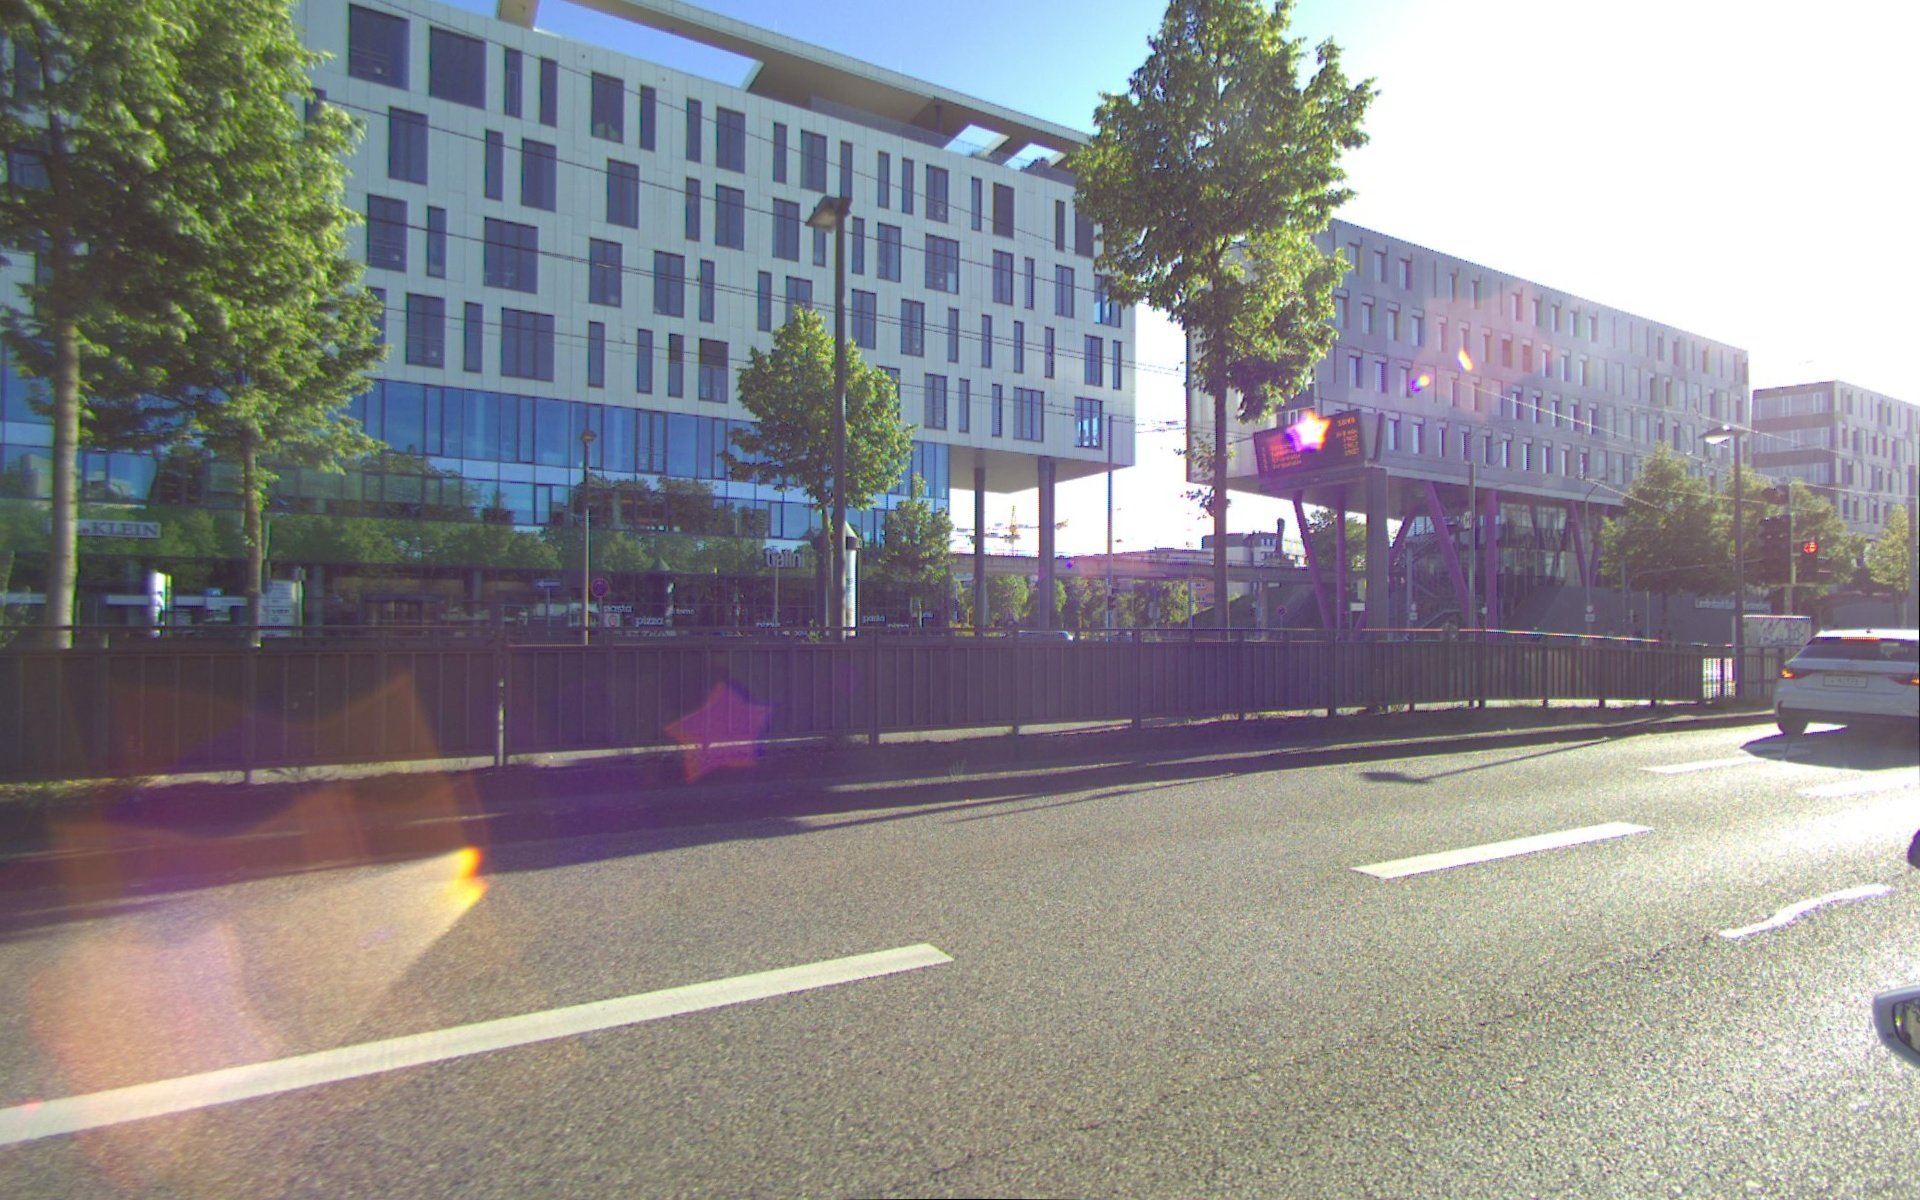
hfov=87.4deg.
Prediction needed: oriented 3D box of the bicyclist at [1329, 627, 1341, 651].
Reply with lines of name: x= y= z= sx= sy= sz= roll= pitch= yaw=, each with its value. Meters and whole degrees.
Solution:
bicyclist: x=22.448 y=2.330 z=60.136 sx=0.546 sy=1.442 sz=0.479 roll=1 pitch=-1 yaw=-30

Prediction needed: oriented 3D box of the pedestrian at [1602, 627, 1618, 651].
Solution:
pedestrian: x=50.648 y=3.024 z=78.297 sx=0.861 sy=1.846 sz=0.718 roll=1 pitch=-1 yaw=-30

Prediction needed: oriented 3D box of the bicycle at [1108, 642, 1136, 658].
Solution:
bicycle: x=9.625 y=2.961 z=59.624 sx=0.739 sy=0.874 sz=1.818 roll=1 pitch=-1 yaw=-27

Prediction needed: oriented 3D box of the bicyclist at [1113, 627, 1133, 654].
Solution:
bicyclist: x=9.654 y=2.379 z=59.576 sx=0.741 sy=1.604 sz=0.950 roll=1 pitch=-1 yaw=-28

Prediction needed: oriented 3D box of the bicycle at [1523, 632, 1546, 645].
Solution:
bicycle: x=39.528 y=2.638 z=69.075 sx=1.811 sy=0.874 sz=0.525 roll=1 pitch=-1 yaw=-29

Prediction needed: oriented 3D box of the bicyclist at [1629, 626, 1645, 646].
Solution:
bicyclist: x=50.843 y=2.689 z=75.431 sx=0.947 sy=1.454 sz=0.568 roll=1 pitch=-1 yaw=-29

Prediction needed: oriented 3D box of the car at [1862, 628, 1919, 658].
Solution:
car: x=51.887 y=2.350 z=55.353 sx=4.816 sy=1.583 sz=1.983 roll=1 pitch=-2 yaw=-32

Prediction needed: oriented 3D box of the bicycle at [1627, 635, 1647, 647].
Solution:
bicycle: x=50.802 y=3.109 z=75.405 sx=1.671 sy=0.874 sz=0.573 roll=1 pitch=-1 yaw=-29

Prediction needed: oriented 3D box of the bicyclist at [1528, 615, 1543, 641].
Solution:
bicyclist: x=39.607 y=1.911 z=69.133 sx=0.827 sy=1.749 sz=0.527 roll=1 pitch=-1 yaw=-29

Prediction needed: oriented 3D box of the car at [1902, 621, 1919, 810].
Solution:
car: x=9.760 y=0.944 z=8.158 sx=4.634 sy=1.446 sz=1.804 roll=1 pitch=0 yaw=-30

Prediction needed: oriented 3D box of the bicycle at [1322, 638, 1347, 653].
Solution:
bicycle: x=22.394 y=2.726 z=60.098 sx=1.672 sy=0.874 sz=0.479 roll=1 pitch=-1 yaw=-31

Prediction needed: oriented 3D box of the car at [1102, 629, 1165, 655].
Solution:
car: x=10.986 y=2.625 z=63.797 sx=1.974 sy=1.586 sz=3.974 roll=1 pitch=-2 yaw=-26

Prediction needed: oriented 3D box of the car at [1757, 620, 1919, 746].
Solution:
car: x=12.678 y=1.040 z=13.641 sx=3.961 sy=1.445 sz=1.662 roll=1 pitch=0 yaw=-32

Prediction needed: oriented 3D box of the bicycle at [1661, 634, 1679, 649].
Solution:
bicycle: x=59.527 y=3.484 z=84.214 sx=1.952 sy=1.188 sz=0.517 roll=1 pitch=-2 yaw=-30

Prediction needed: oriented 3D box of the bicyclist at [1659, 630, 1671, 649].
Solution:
bicyclist: x=59.346 y=3.327 z=84.551 sx=0.754 sy=1.515 sz=0.556 roll=1 pitch=-2 yaw=-30
